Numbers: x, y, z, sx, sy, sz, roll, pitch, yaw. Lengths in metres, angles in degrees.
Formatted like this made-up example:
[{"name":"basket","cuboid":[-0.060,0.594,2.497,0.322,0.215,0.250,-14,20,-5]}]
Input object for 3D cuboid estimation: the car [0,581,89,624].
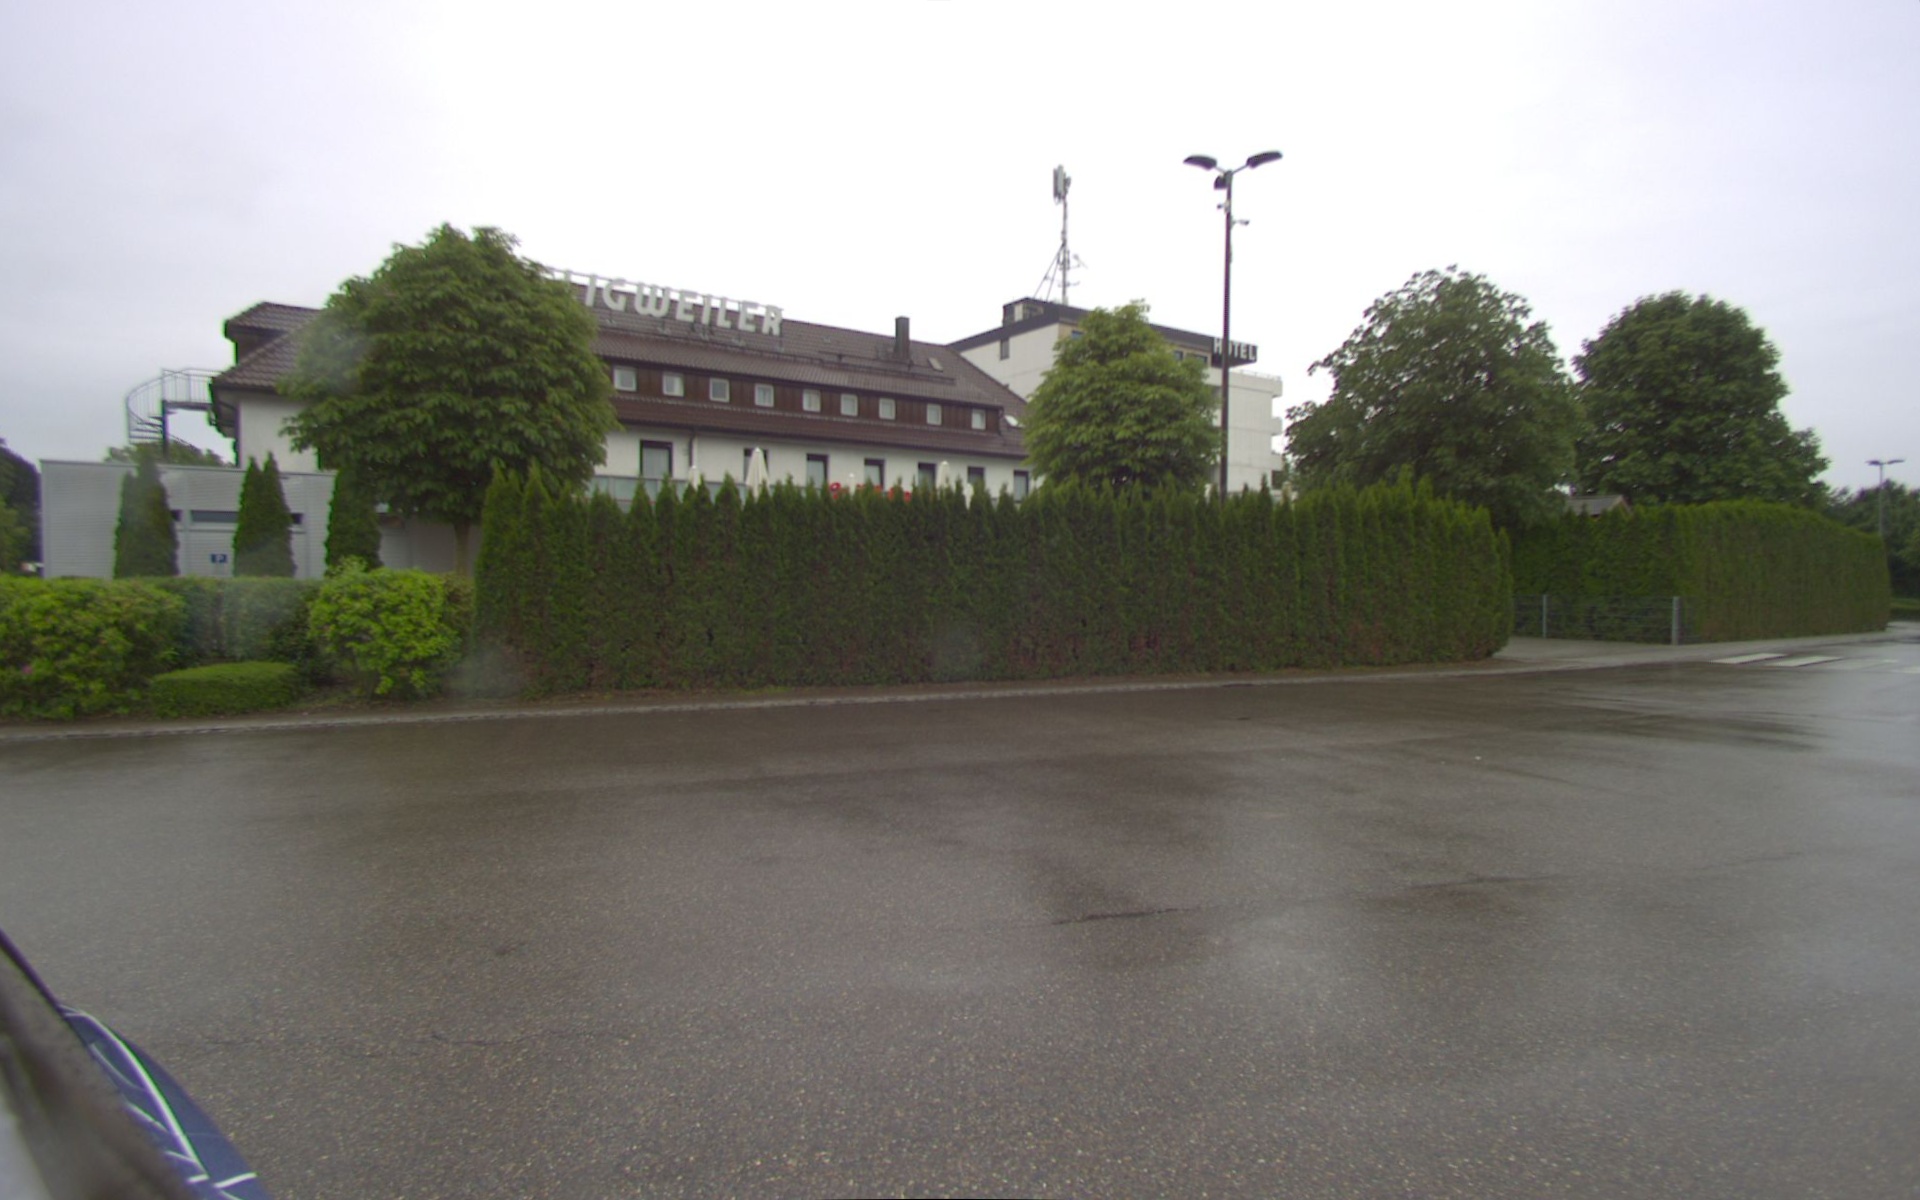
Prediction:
[{"name":"car","cuboid":[-32.873,0.097,34.777,4.289,1.435,1.855,-2,2,-37]}]
